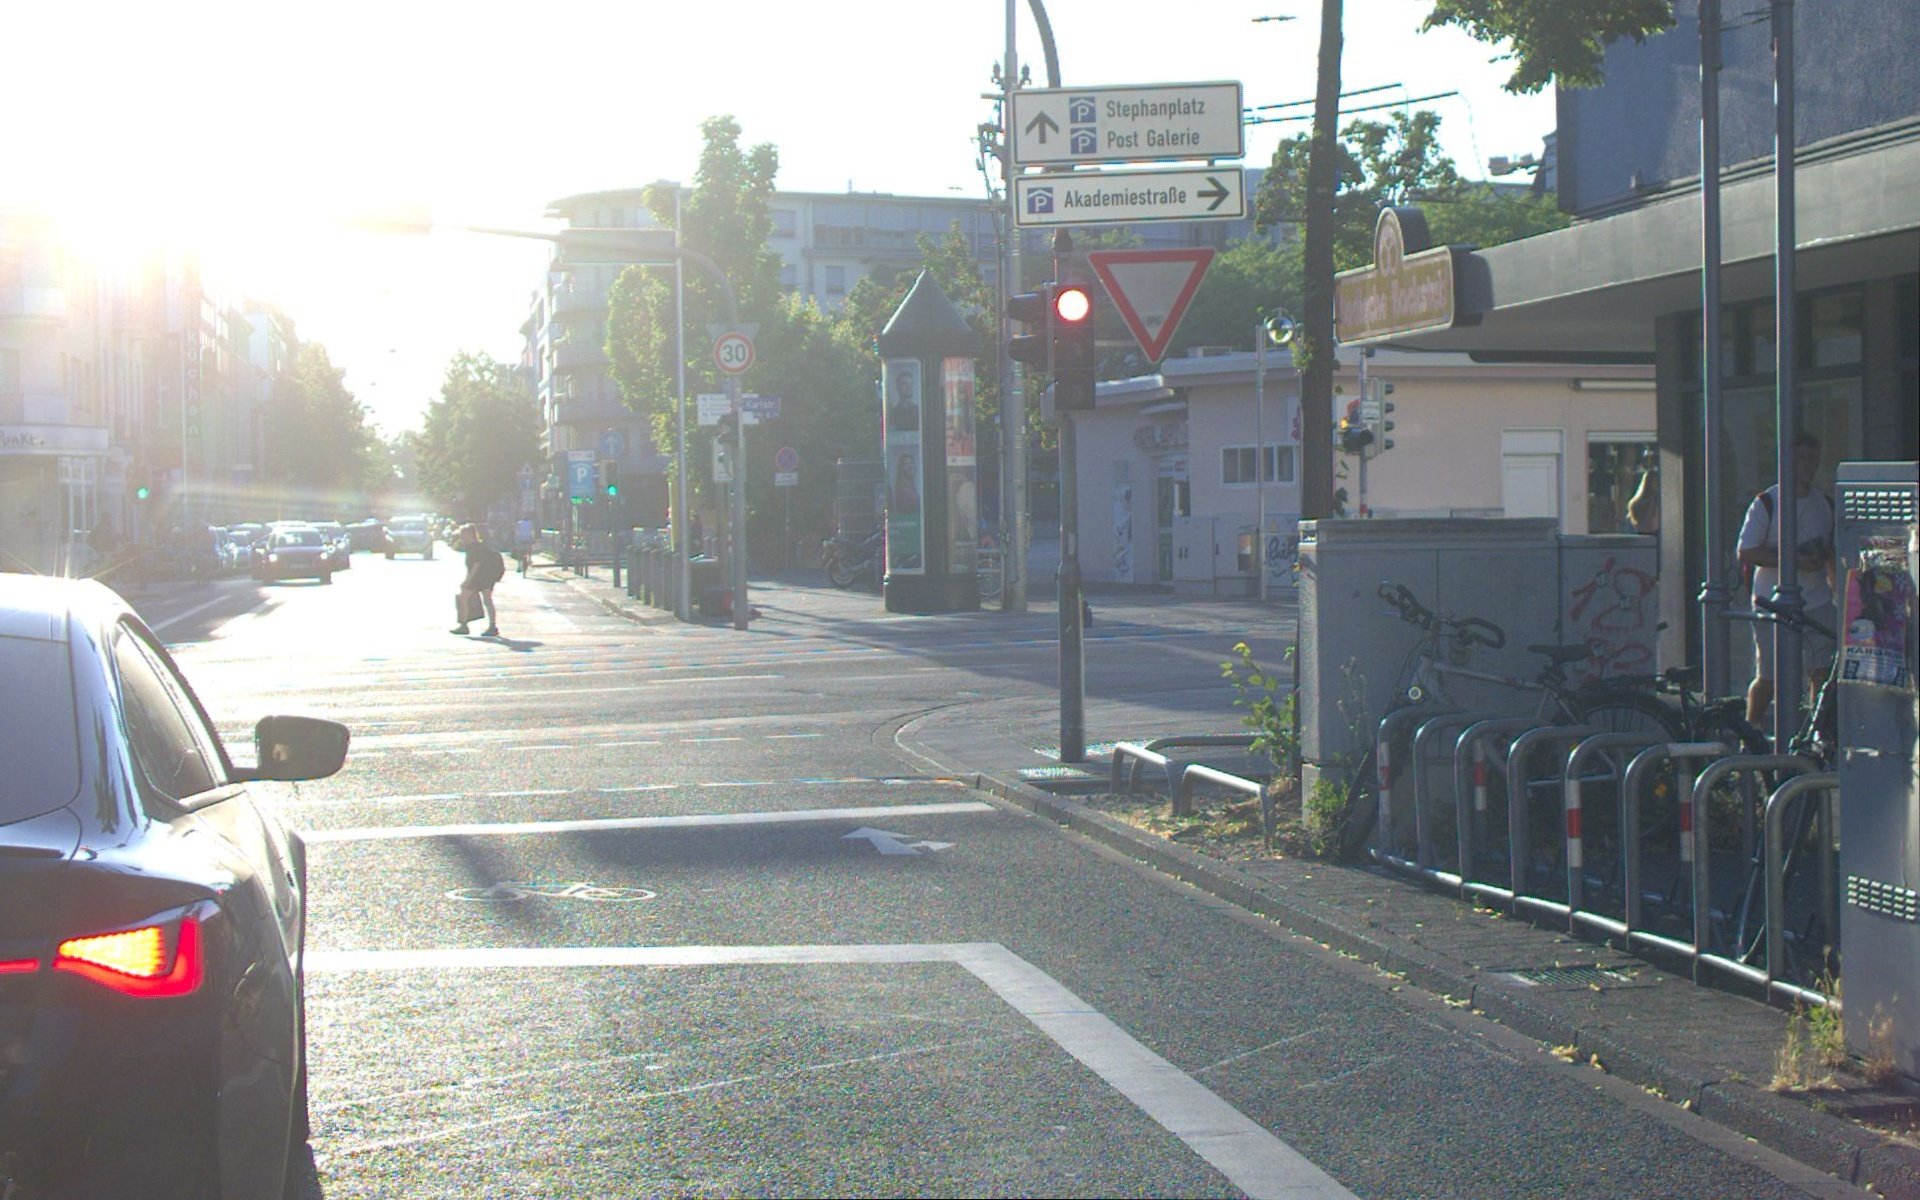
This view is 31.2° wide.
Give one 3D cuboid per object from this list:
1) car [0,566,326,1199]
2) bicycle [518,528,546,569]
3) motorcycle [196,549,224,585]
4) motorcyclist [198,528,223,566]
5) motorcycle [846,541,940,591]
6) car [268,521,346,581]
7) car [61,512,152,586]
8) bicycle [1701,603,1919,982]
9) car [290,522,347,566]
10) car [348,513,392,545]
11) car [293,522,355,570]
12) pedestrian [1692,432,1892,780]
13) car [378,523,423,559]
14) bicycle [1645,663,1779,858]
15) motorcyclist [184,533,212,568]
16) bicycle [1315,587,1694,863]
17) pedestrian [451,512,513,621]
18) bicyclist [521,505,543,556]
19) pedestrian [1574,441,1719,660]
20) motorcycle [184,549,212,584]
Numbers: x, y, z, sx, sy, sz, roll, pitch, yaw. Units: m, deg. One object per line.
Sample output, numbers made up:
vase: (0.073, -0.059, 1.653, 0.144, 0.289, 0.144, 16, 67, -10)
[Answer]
car: (-2.115, 0.669, 6.505, 1.736, 1.424, 4.225, 0, 1, -10)
bicycle: (-12.398, -1.494, 99.544, 0.550, 1.155, 2.145, 0, 1, -13)
motorcycle: (-19.598, -0.857, 89.867, 0.575, 0.912, 2.201, 1, 1, -8)
motorcyclist: (-19.581, -1.385, 89.791, 0.575, 0.992, 0.703, 1, 1, -8)
motorcycle: (-1.327, -0.680, 67.867, 1.668, 0.935, 0.856, -1, 2, -19)
car: (-17.116, -1.307, 90.276, 1.817, 1.514, 4.001, -1, 2, -8)
car: (-21.596, -1.317, 87.109, 1.817, 1.782, 4.001, -1, 2, -8)
bicycle: (3.222, 0.631, 11.373, 1.440, 1.216, 0.383, 1, 1, -7)
car: (-22.966, -2.016, 123.186, 1.817, 1.514, 4.001, -1, 2, -8)
car: (-29.936, -3.601, 174.516, 1.993, 1.546, 4.001, -2, 2, -7)
car: (-21.054, -1.810, 113.892, 1.817, 1.514, 4.001, -1, 2, -8)
pedestrian: (4.513, 0.023, 18.677, 0.835, 1.835, 0.679, -1, 1, -8)
car: (-24.005, -2.539, 147.513, 1.817, 1.514, 4.001, -1, 2, -8)
bicycle: (3.348, 0.702, 15.362, 0.249, 0.793, 1.116, 1, 1, -5)
motorcyclist: (-20.430, -1.332, 92.199, 0.575, 0.912, 2.201, 1, 1, -8)
bicycle: (2.400, 0.542, 15.168, 1.612, 1.167, 0.318, -1, 1, -6)
pedestrian: (-6.738, -0.472, 48.425, 0.732, 1.524, 0.473, 0, 1, -28)
bicyclist: (-12.411, -2.009, 99.628, 0.550, 1.476, 0.723, 0, 0, -13)
pedestrian: (6.068, -0.443, 30.380, 1.001, 1.854, 0.640, -5, 3, -28)
motorcycle: (-20.465, -0.914, 92.327, 0.575, 0.912, 2.201, 1, 1, -8)
